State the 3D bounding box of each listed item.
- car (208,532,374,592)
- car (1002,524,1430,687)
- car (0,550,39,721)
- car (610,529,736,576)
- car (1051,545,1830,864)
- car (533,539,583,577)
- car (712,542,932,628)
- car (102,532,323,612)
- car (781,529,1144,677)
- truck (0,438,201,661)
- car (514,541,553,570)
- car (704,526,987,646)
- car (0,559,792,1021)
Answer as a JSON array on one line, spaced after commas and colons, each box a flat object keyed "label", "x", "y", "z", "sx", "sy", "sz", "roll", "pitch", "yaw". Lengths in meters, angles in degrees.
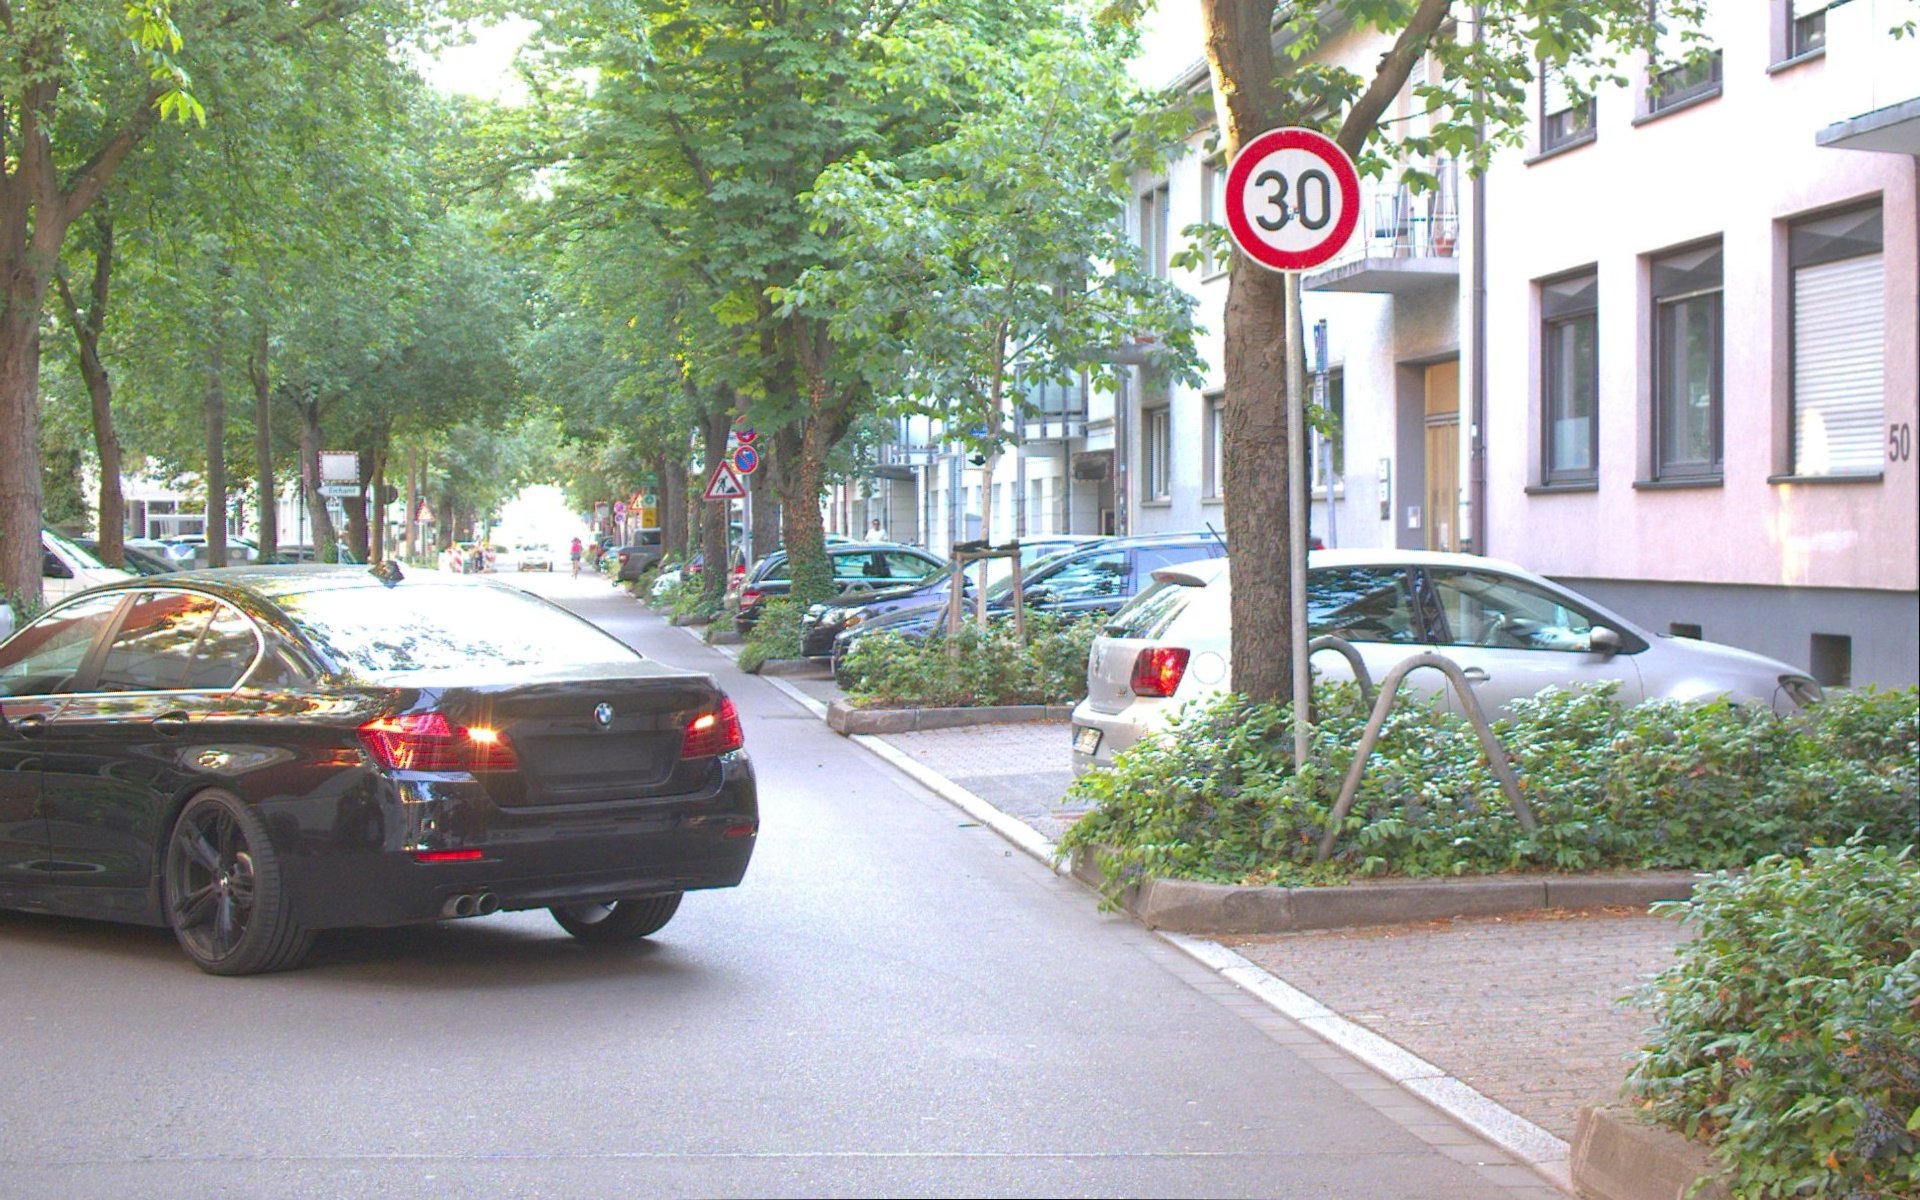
[{"label": "car", "x": -16.955, "y": -0.965, "z": 87.228, "sx": 4.020, "sy": 1.466, "sz": 1.640, "roll": 1, "pitch": 1, "yaw": -7}, {"label": "car", "x": 2.328, "y": 0.030, "z": 31.647, "sx": 3.656, "sy": 1.388, "sz": 1.566, "roll": -1, "pitch": 1, "yaw": -8}, {"label": "car", "x": -10.359, "y": 0.274, "z": 30.295, "sx": 4.131, "sy": 1.466, "sz": 1.640, "roll": 1, "pitch": 1, "yaw": -7}, {"label": "car", "x": -8.548, "y": -1.420, "z": 102.323, "sx": 3.656, "sy": 1.388, "sz": 1.566, "roll": 0, "pitch": 1, "yaw": -8}, {"label": "car", "x": 2.414, "y": 0.491, "z": 17.679, "sx": 3.656, "sy": 1.474, "sz": 1.566, "roll": -1, "pitch": 1, "yaw": -8}, {"label": "car", "x": -16.542, "y": -1.732, "z": 141.321, "sx": 1.993, "sy": 1.546, "sz": 4.001, "roll": 0, "pitch": 1, "yaw": -7}, {"label": "car", "x": -2.409, "y": -0.269, "z": 59.605, "sx": 3.656, "sy": 1.388, "sz": 1.566, "roll": -1, "pitch": 1, "yaw": -8}, {"label": "car", "x": -14.368, "y": -0.551, "z": 66.239, "sx": 4.020, "sy": 1.466, "sz": 1.640, "roll": 1, "pitch": 1, "yaw": -7}, {"label": "car", "x": 0.002, "y": 0.012, "z": 37.901, "sx": 3.791, "sy": 1.524, "sz": 1.566, "roll": -1, "pitch": 1, "yaw": -8}, {"label": "truck", "x": -11.191, "y": -0.605, "z": 38.604, "sx": 4.998, "sy": 2.432, "sz": 1.916, "roll": 1, "pitch": 2, "yaw": -5}, {"label": "car", "x": -22.150, "y": -2.331, "z": 178.612, "sx": 1.894, "sy": 1.470, "sz": 4.001, "roll": 0, "pitch": 1, "yaw": -6}, {"label": "car", "x": -1.578, "y": -0.207, "z": 46.661, "sx": 3.656, "sy": 1.531, "sz": 1.566, "roll": -1, "pitch": 1, "yaw": -8}, {"label": "car", "x": -2.860, "y": 0.584, "z": 13.339, "sx": 1.763, "sy": 1.445, "sz": 4.665, "roll": -1, "pitch": 2, "yaw": -44}]
